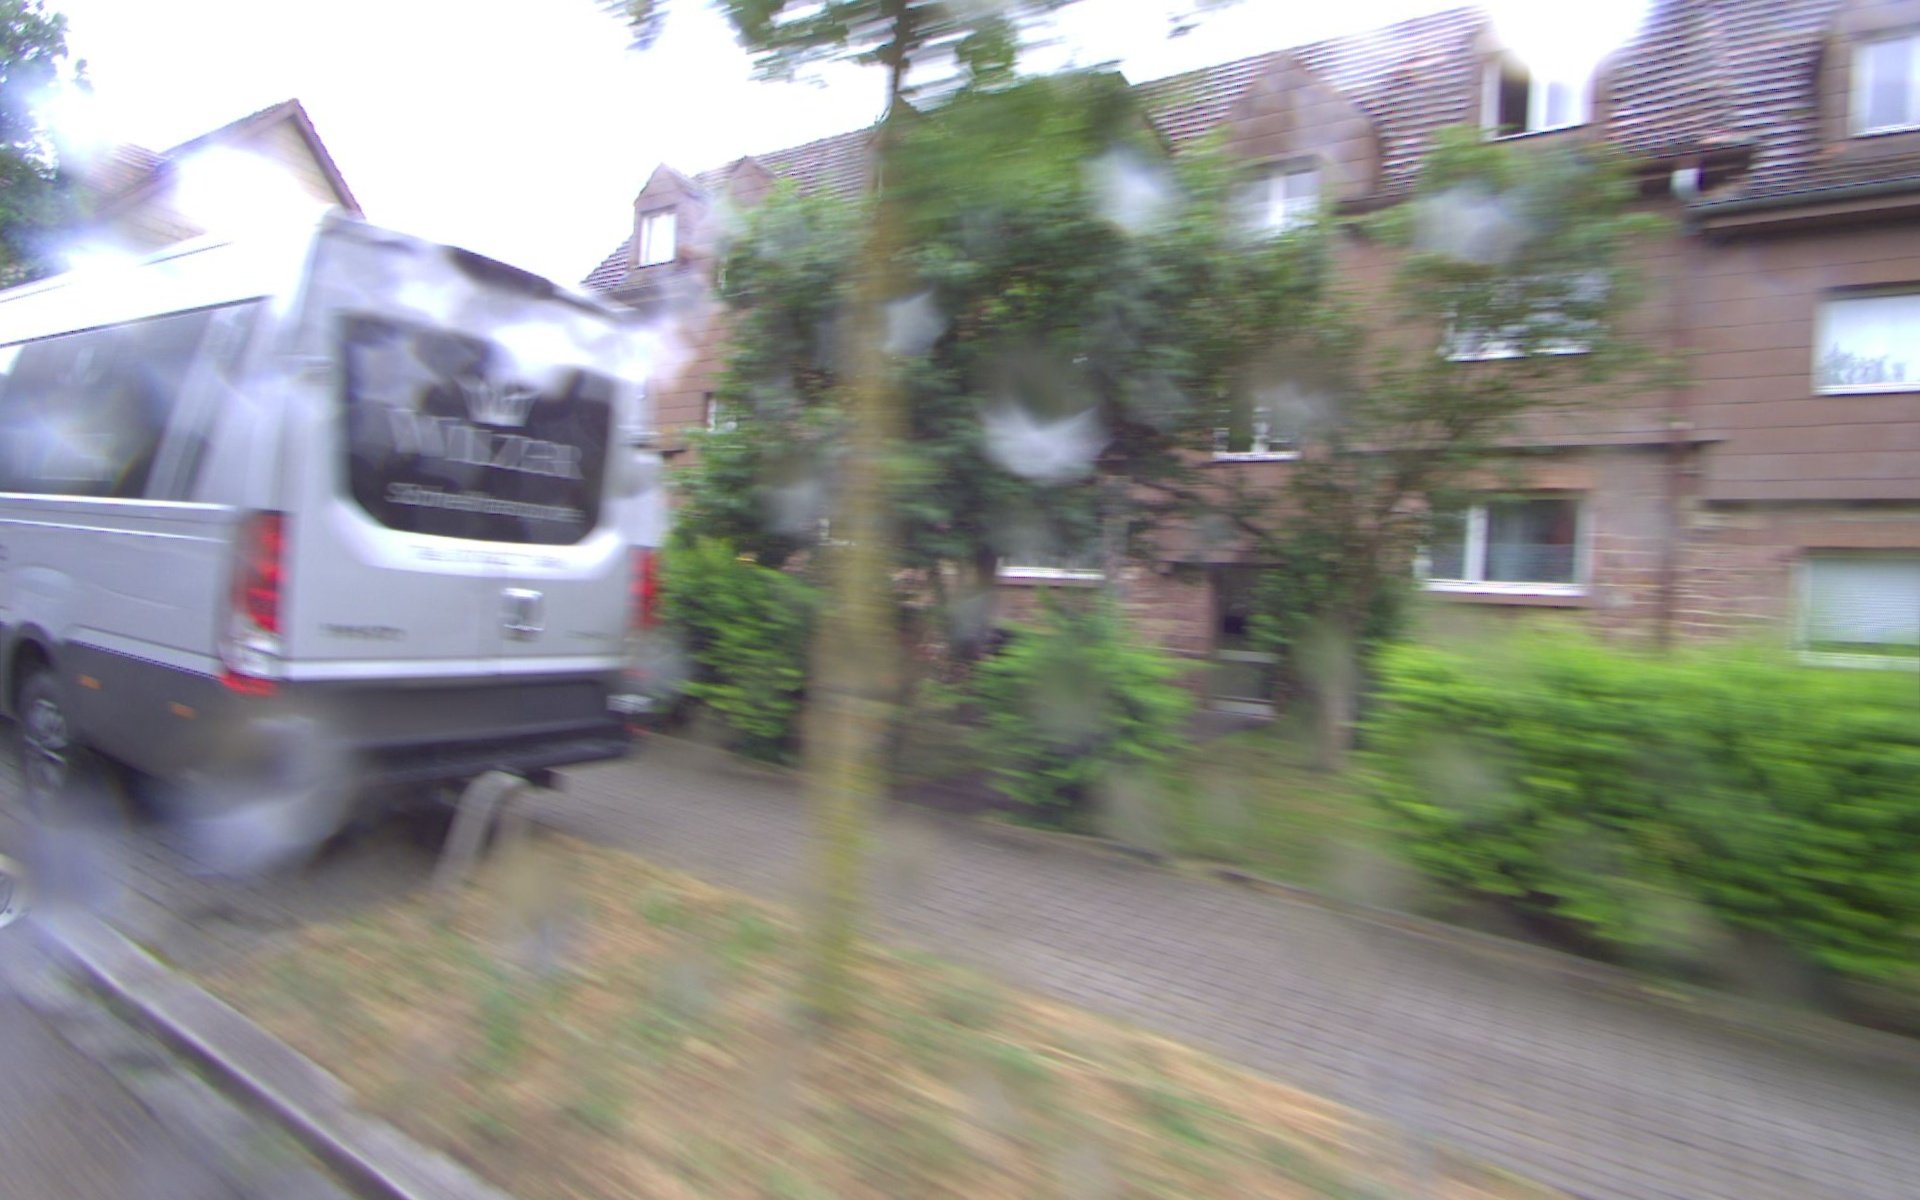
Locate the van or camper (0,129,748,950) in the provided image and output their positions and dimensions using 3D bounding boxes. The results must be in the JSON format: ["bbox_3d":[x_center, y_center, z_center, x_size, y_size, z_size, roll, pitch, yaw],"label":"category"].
[{"bbox_3d":[-4.796,-0.474,6.140,7.181,2.686,2.198,7,2,32],"label":"van or camper"}]
